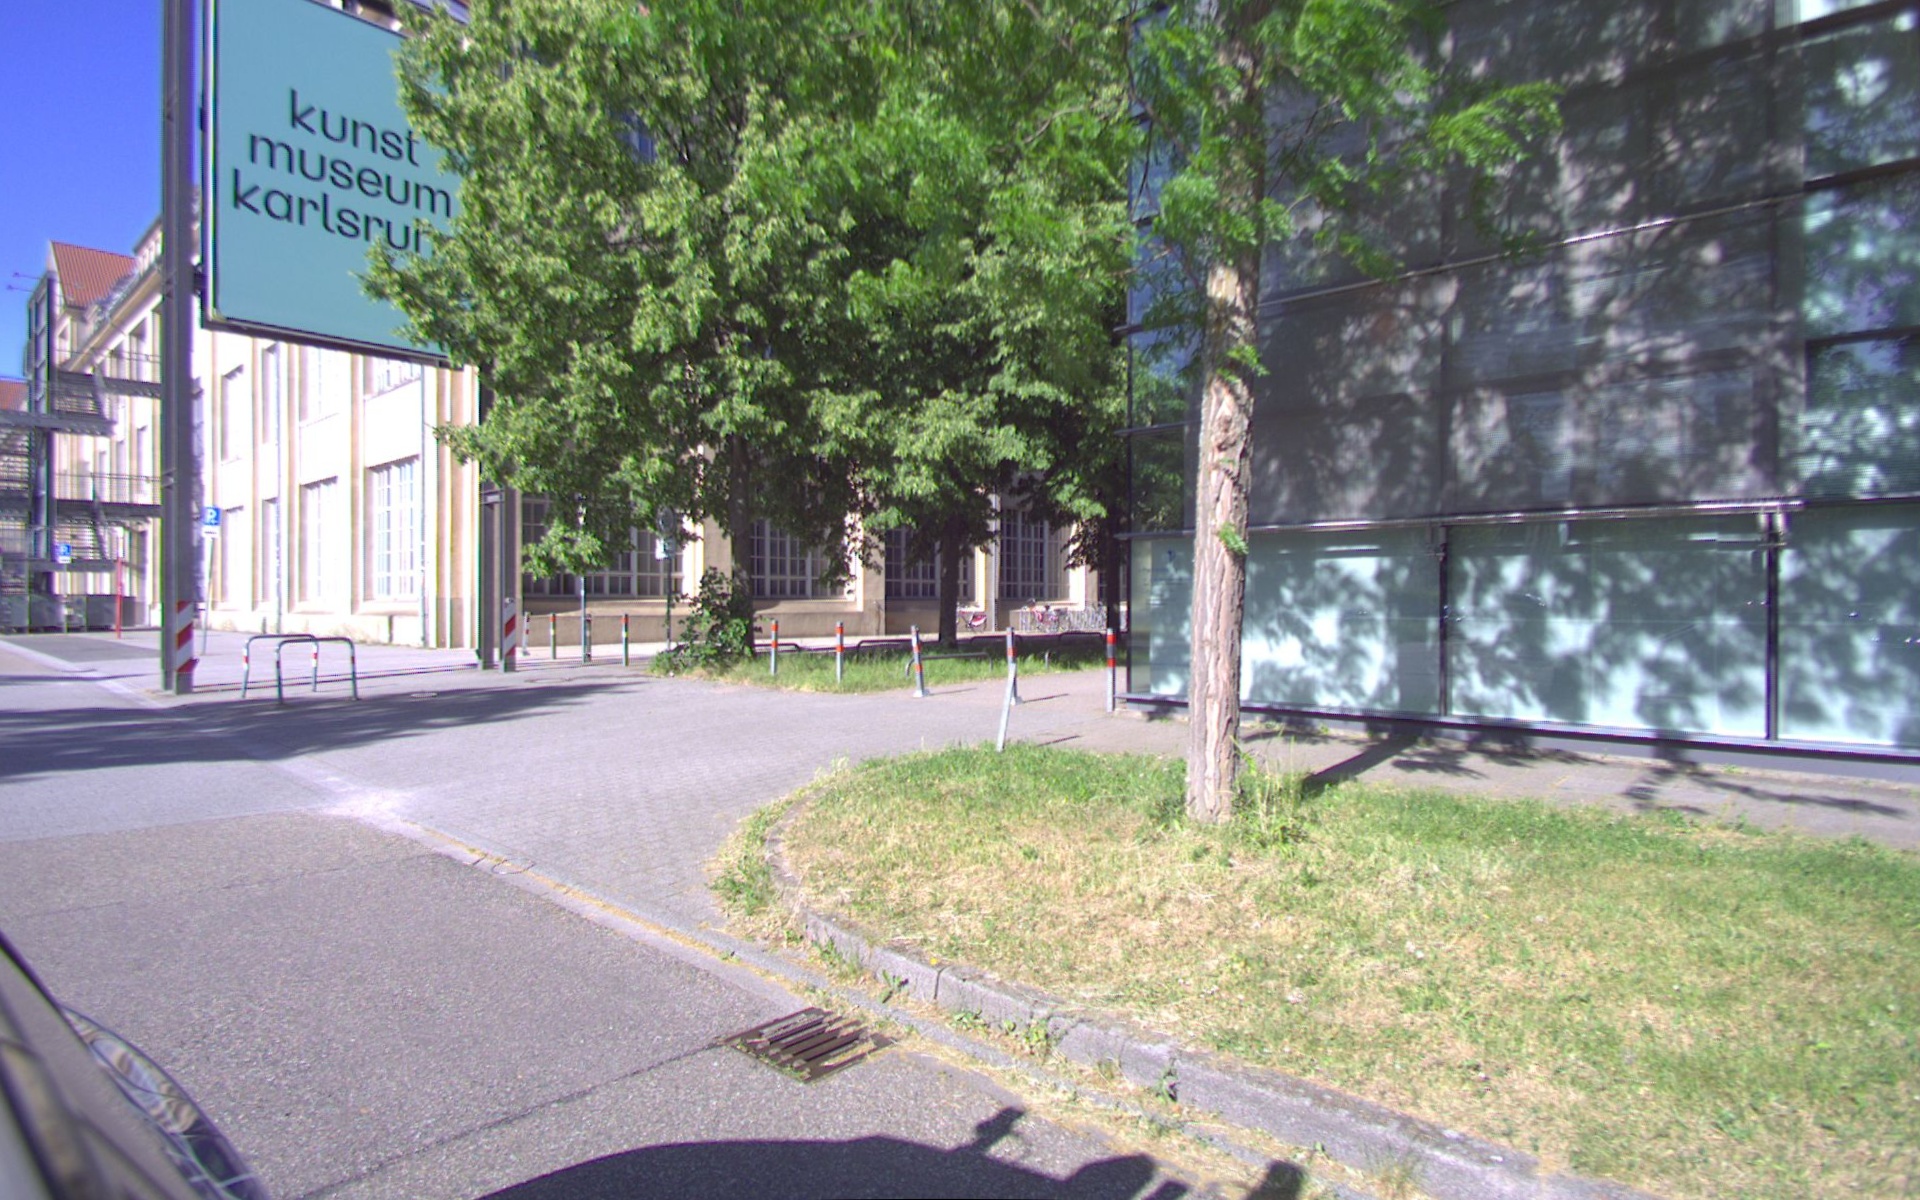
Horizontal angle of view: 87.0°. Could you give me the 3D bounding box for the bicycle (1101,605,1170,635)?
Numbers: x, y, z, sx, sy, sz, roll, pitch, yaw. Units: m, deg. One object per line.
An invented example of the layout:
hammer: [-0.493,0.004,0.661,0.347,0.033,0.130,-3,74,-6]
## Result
bicycle: [7.168,0.803,41.563,2.806,1.159,0.709,0,0,39]

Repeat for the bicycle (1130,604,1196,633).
bicycle: [8.673,0.777,43.317,2.737,1.159,0.709,0,0,39]

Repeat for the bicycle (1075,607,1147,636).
bicycle: [5.880,0.827,39.613,2.806,1.071,0.709,0,0,39]

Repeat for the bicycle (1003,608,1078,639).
bicycle: [2.878,0.827,36.450,2.806,1.071,0.709,0,0,39]

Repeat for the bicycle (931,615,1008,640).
bicycle: [0.351,0.931,35.214,2.838,0.798,0.782,0,0,-40]

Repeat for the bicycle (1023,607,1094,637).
bicycle: [3.670,0.811,37.889,2.810,1.071,0.708,0,0,43]

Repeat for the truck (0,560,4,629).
truck: [-51.392,-0.319,52.453,7.131,3.457,2.464,0,-1,45]

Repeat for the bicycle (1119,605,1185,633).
bicycle: [8.091,0.798,42.796,2.737,1.159,0.709,0,0,39]
